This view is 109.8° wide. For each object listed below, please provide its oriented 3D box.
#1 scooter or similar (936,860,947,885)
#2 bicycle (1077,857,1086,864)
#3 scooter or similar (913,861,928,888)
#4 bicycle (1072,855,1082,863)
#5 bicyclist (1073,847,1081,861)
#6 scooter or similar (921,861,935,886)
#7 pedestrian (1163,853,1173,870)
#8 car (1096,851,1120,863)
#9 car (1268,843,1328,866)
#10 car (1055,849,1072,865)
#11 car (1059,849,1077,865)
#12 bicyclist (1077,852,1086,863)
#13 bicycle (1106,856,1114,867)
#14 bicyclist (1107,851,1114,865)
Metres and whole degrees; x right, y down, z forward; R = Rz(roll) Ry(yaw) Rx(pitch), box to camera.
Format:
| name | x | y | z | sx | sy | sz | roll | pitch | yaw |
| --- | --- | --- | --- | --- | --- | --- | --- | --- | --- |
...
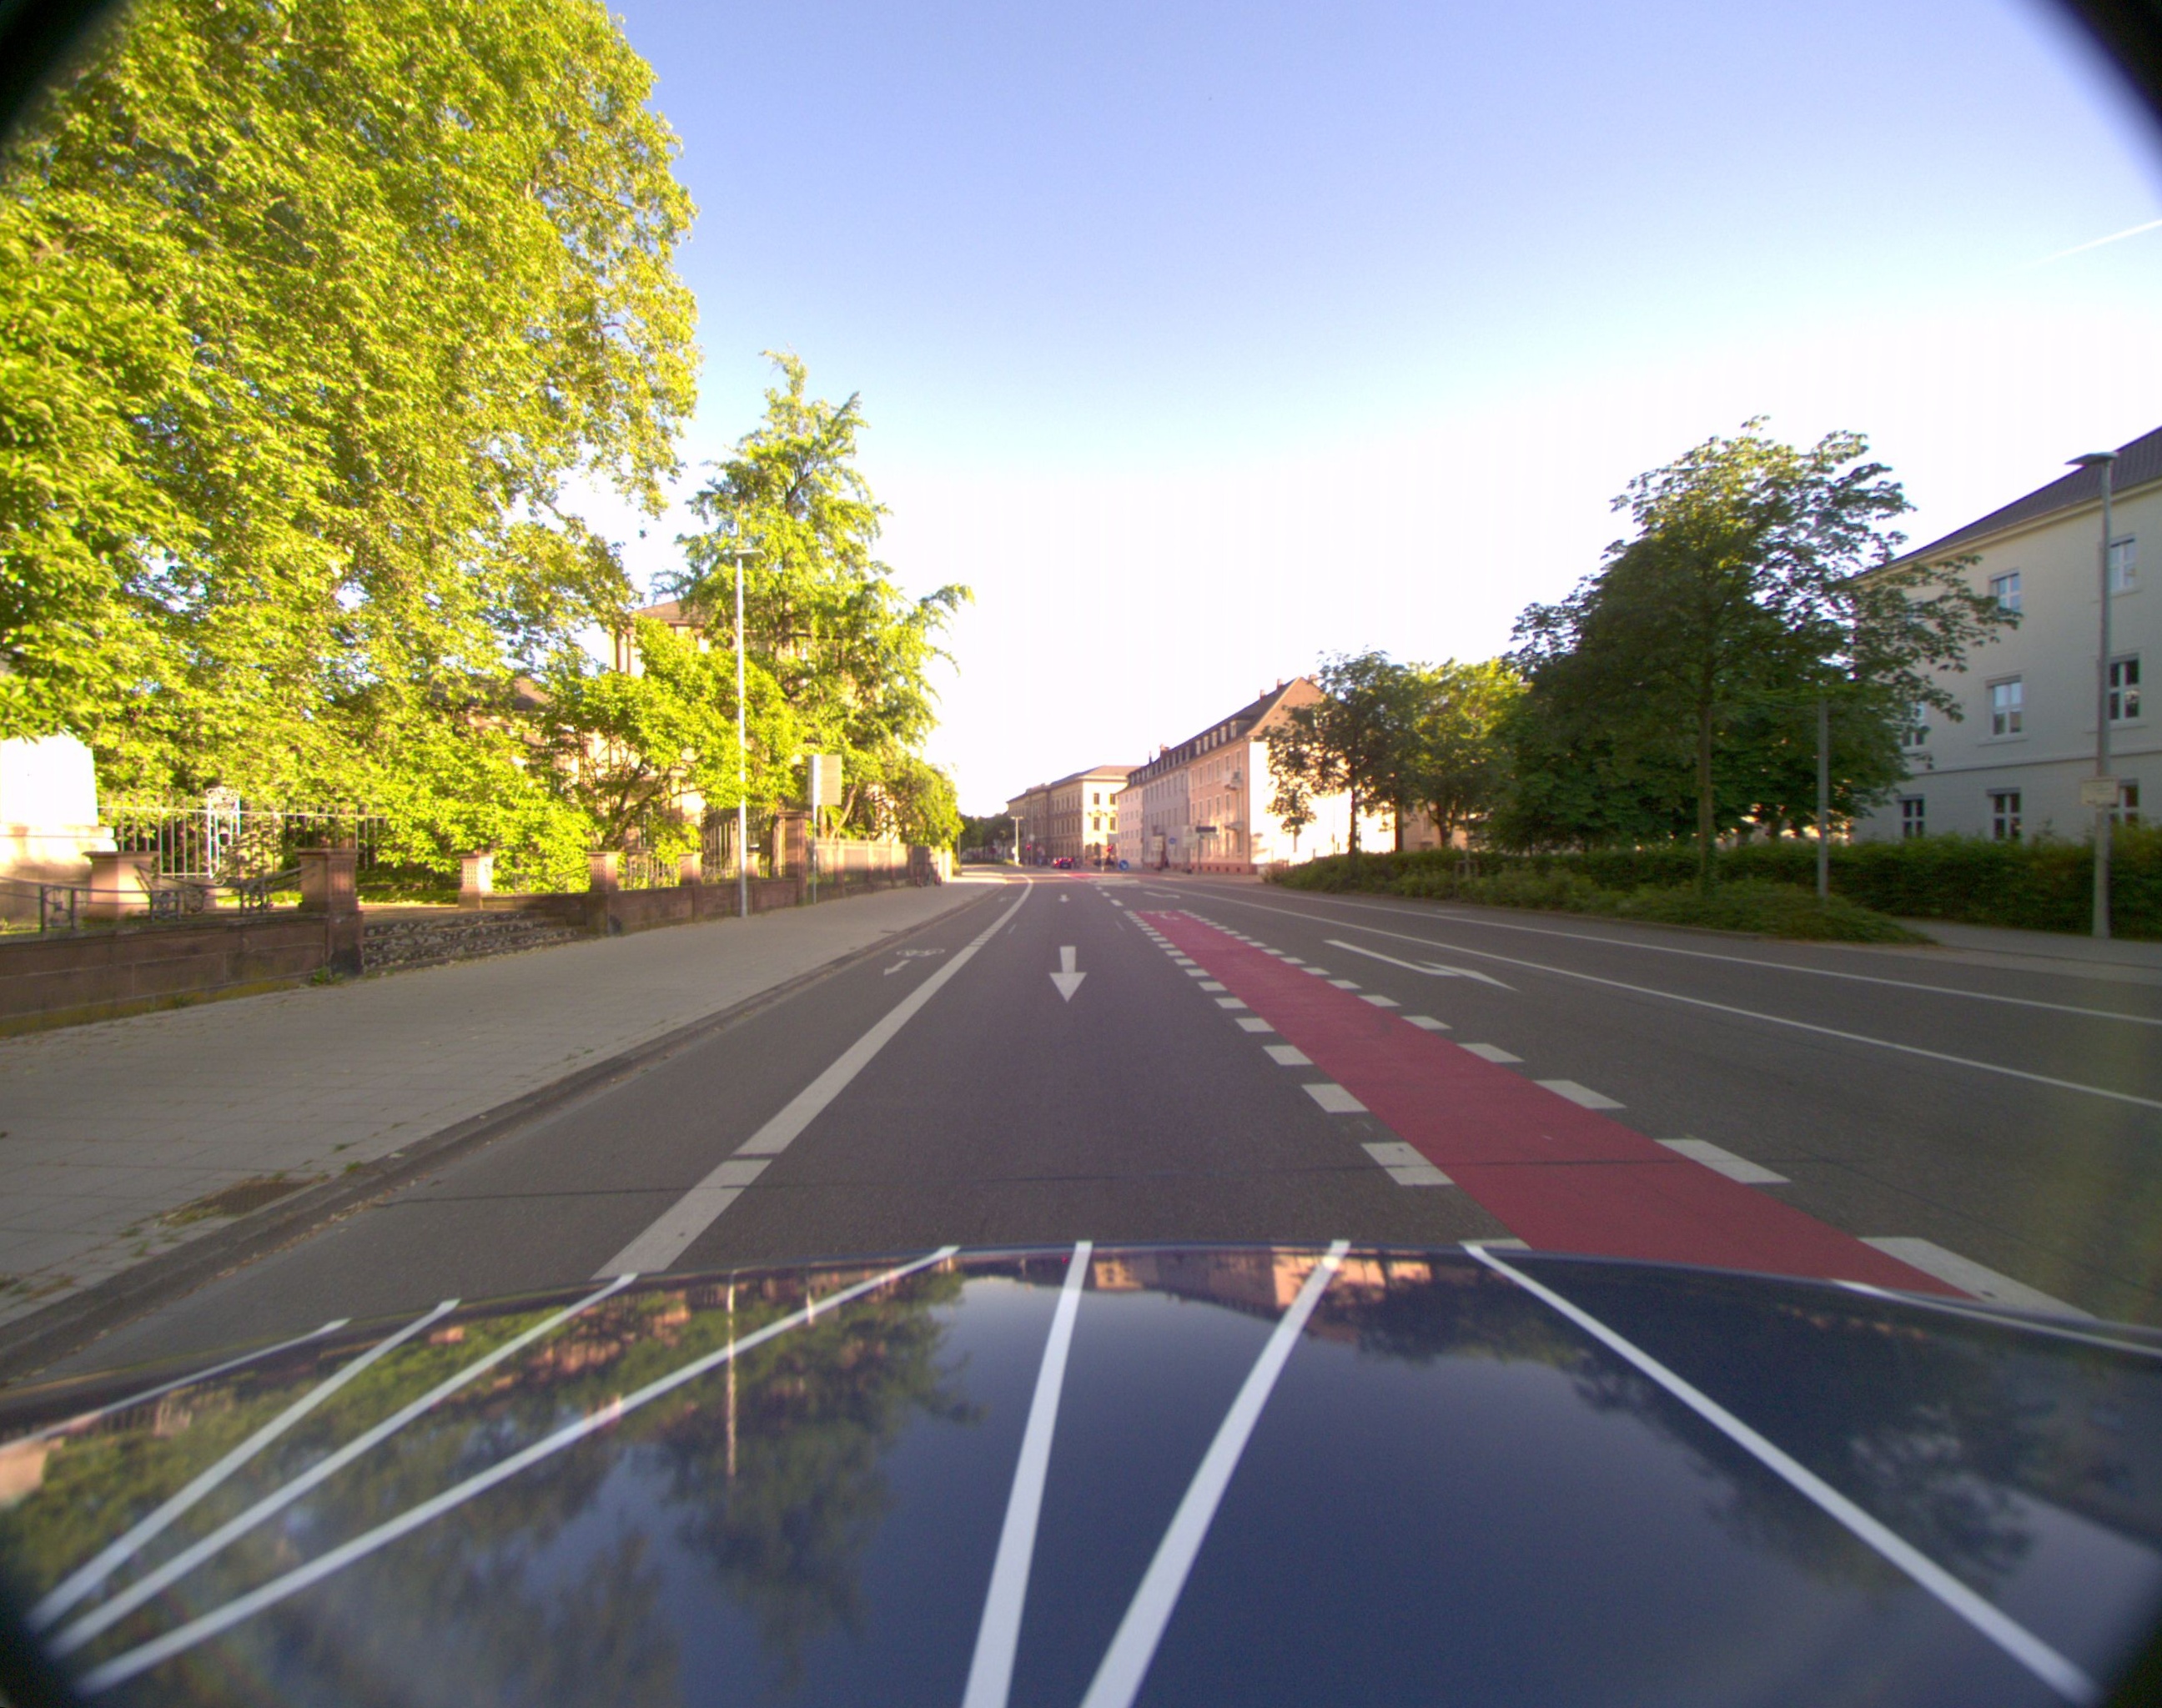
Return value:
| name | x | y | z | sx | sy | sz | roll | pitch | yaw |
| --- | --- | --- | --- | --- | --- | --- | --- | --- | --- |
| scooter or similar | -7.101 | 0.931 | 38.667 | 0.517 | 1.233 | 1.521 | 0 | 0 | -11 |
| bicycle | 0.061 | 0.901 | 105.111 | 0.663 | 0.907 | 2.861 | 0 | 0 | -9 |
| scooter or similar | -7.559 | 0.939 | 35.732 | 0.577 | 1.246 | 1.486 | 0 | 0 | -15 |
| bicycle | -0.570 | 0.715 | 109.781 | 0.956 | 1.216 | 2.776 | 0 | 0 | -9 |
| bicyclist | -0.536 | 0.013 | 109.912 | 0.956 | 2.002 | 1.307 | 0 | 1 | -9 |
| scooter or similar | -7.574 | 0.946 | 37.585 | 0.576 | 1.177 | 1.487 | 0 | 0 | -7 |
| pedestrian | 9.929 | 0.827 | 86.670 | 0.949 | 1.894 | 1.062 | -2 | 1 | -7 |
| car | 4.551 | 0.456 | 129.846 | 3.997 | 2.002 | 2.000 | 0 | 0 | -1 |
| car | 16.719 | 0.051 | 58.652 | 4.000 | 1.652 | 1.998 | -2 | 1 | -9 |
| car | -2.435 | 0.389 | 102.989 | 1.999 | 2.002 | 3.998 | 0 | 0 | -5 |
| car | -1.647 | 0.395 | 97.154 | 1.999 | 2.002 | 3.998 | 0 | 0 | -6 |
| bicyclist | 0.076 | 0.476 | 105.032 | 1.026 | 1.481 | 0.870 | 0 | 1 | -9 |
| bicycle | 3.327 | 0.864 | 86.285 | 0.697 | 1.152 | 2.245 | 1 | 0 | -3 |
| bicyclist | 3.336 | 0.415 | 86.213 | 0.691 | 1.553 | 0.838 | 1 | 1 | -3 |
